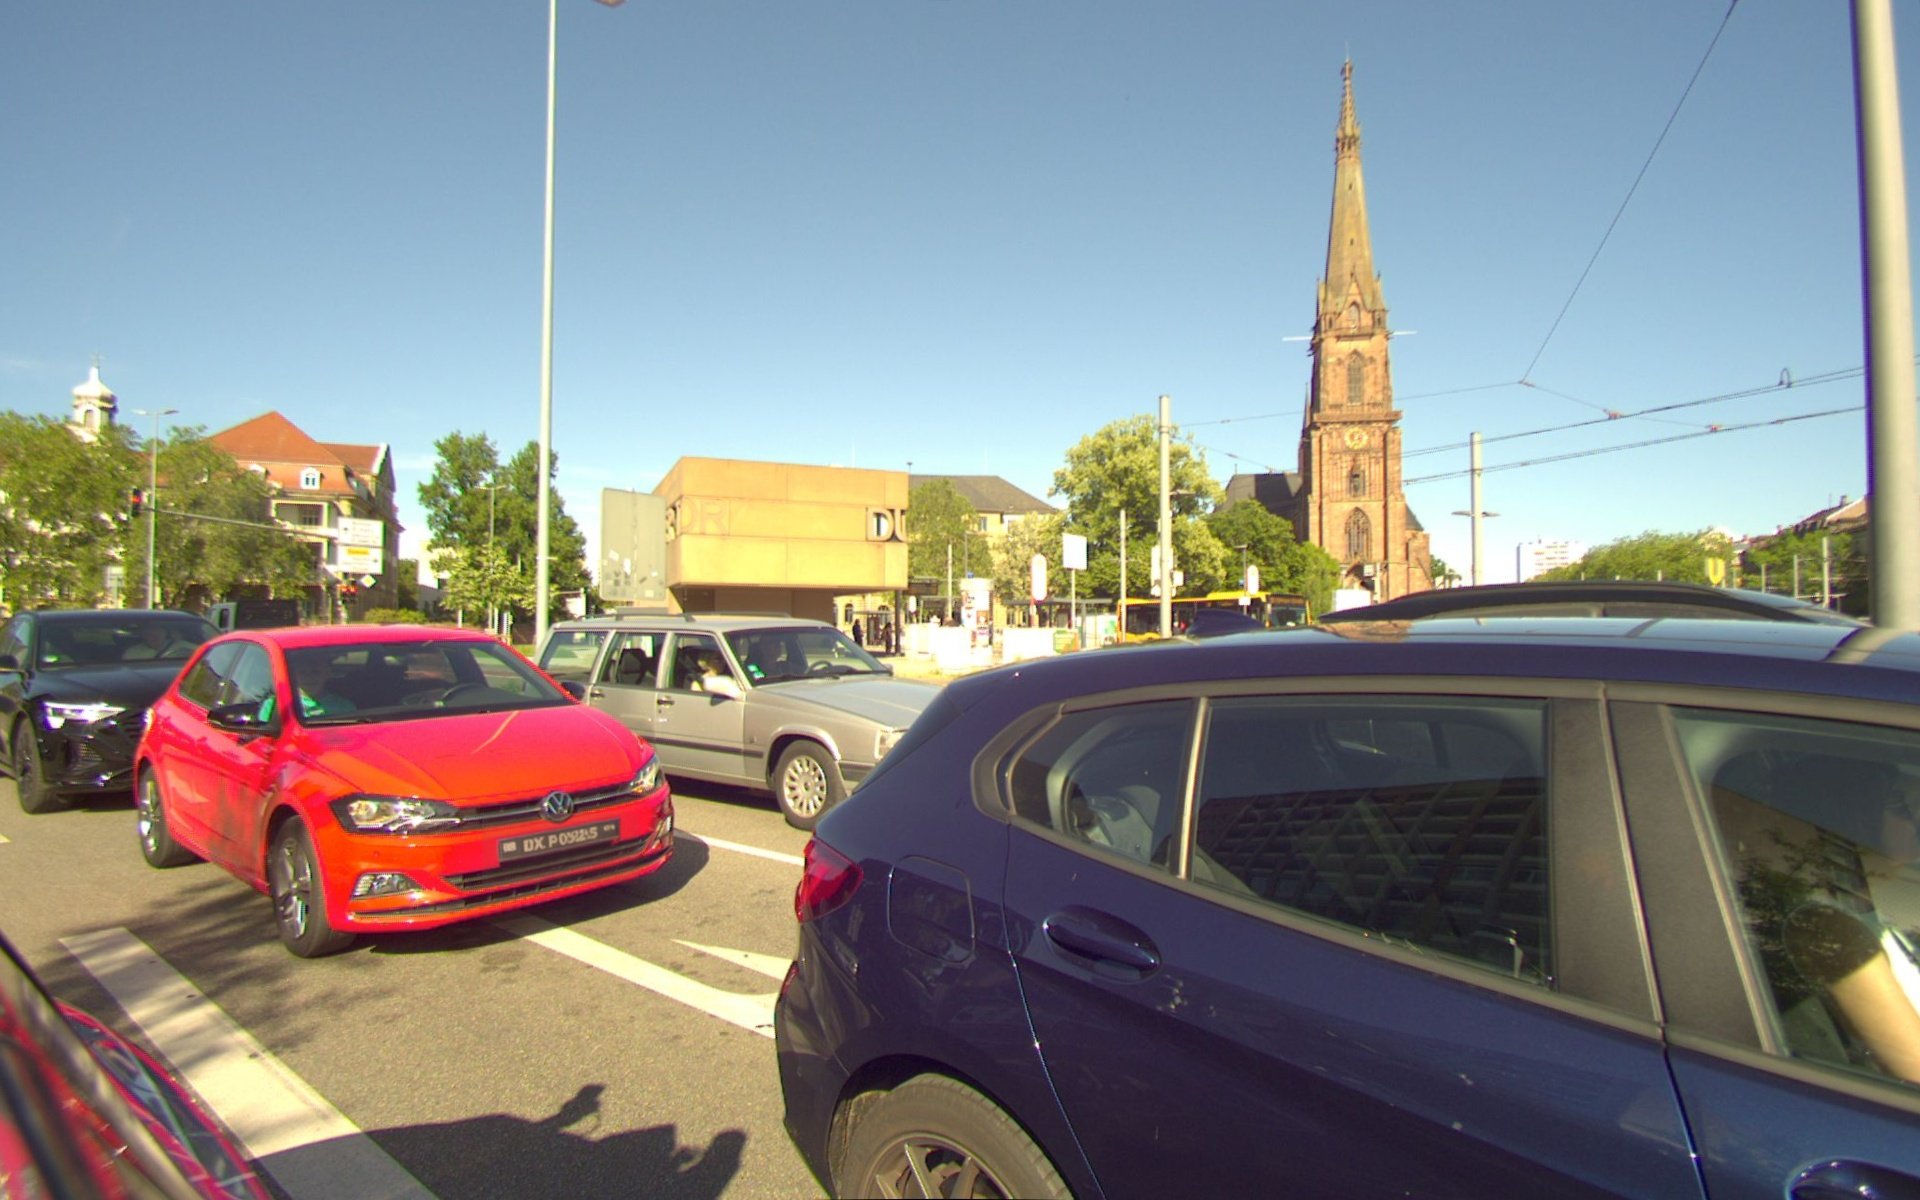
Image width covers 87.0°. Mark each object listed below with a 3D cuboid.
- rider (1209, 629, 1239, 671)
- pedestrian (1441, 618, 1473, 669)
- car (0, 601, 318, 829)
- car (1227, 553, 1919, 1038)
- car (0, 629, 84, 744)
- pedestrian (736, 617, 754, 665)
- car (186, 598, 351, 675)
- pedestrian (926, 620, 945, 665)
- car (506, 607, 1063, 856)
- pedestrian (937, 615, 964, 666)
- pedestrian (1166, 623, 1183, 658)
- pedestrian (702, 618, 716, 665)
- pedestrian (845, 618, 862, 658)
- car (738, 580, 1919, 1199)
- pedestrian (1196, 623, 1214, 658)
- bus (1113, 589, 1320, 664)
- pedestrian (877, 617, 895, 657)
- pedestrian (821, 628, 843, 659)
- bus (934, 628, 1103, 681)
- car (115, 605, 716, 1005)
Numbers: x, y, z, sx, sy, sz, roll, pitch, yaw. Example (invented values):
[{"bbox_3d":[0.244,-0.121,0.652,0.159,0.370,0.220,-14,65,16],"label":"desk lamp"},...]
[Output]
[{"bbox_3d":[9.407,1.771,36.051,0.849,1.475,0.670,0,-2,-1],"label":"rider"},{"bbox_3d":[18.327,1.594,37.314,0.882,1.869,0.679,-2,-3,41],"label":"pedestrian"},{"bbox_3d":[-7.837,0.886,9.334,4.446,1.628,1.836,-2,-2,38],"label":"car"},{"bbox_3d":[3.336,0.632,4.116,4.010,1.529,1.738,-2,-2,44],"label":"car"},{"bbox_3d":[-13.602,1.143,13.882,3.704,1.429,1.557,-2,-1,35],"label":"car"},{"bbox_3d":[-8.112,1.542,38.186,0.635,1.789,0.618,0,-2,-8],"label":"pedestrian"},{"bbox_3d":[-22.704,1.196,33.146,6.191,2.331,2.095,-1,-2,31],"label":"car"},{"bbox_3d":[-0.995,1.724,40.883,0.634,1.789,0.470,1,-2,-29],"label":"pedestrian"},{"bbox_3d":[-1.635,0.826,8.180,4.744,1.484,1.693,-1,-1,38],"label":"car"},{"bbox_3d":[-0.344,1.442,36.271,0.667,1.802,0.637,-1,-1,39],"label":"pedestrian"},{"bbox_3d":[9.690,1.833,45.738,0.561,1.525,0.529,-1,-1,-10],"label":"pedestrian"},{"bbox_3d":[-9.587,1.572,38.661,0.460,1.789,0.648,0,-2,-21],"label":"pedestrian"},{"bbox_3d":[-4.890,1.739,46.443,0.468,1.789,0.638,-2,-2,36],"label":"pedestrian"},{"bbox_3d":[1.613,0.703,1.351,4.030,1.456,1.692,-1,-1,42],"label":"car"},{"bbox_3d":[10.883,1.807,44.961,0.551,1.525,0.530,-1,-1,-25],"label":"pedestrian"},{"bbox_3d":[11.671,1.319,48.095,2.715,3.088,12.201,1,-2,-23],"label":"bus"},{"bbox_3d":[-3.298,1.653,45.136,0.468,1.789,0.638,-2,-2,36],"label":"pedestrian"},{"bbox_3d":[-5.455,1.850,43.193,0.635,1.320,0.764,1,-2,-40],"label":"pedestrian"},{"bbox_3d":[1.464,1.365,26.148,4.174,1.251,1.627,-1,-2,35],"label":"bus"},{"bbox_3d":[-3.230,0.811,5.667,3.850,1.484,1.653,-2,-1,40],"label":"car"}]
